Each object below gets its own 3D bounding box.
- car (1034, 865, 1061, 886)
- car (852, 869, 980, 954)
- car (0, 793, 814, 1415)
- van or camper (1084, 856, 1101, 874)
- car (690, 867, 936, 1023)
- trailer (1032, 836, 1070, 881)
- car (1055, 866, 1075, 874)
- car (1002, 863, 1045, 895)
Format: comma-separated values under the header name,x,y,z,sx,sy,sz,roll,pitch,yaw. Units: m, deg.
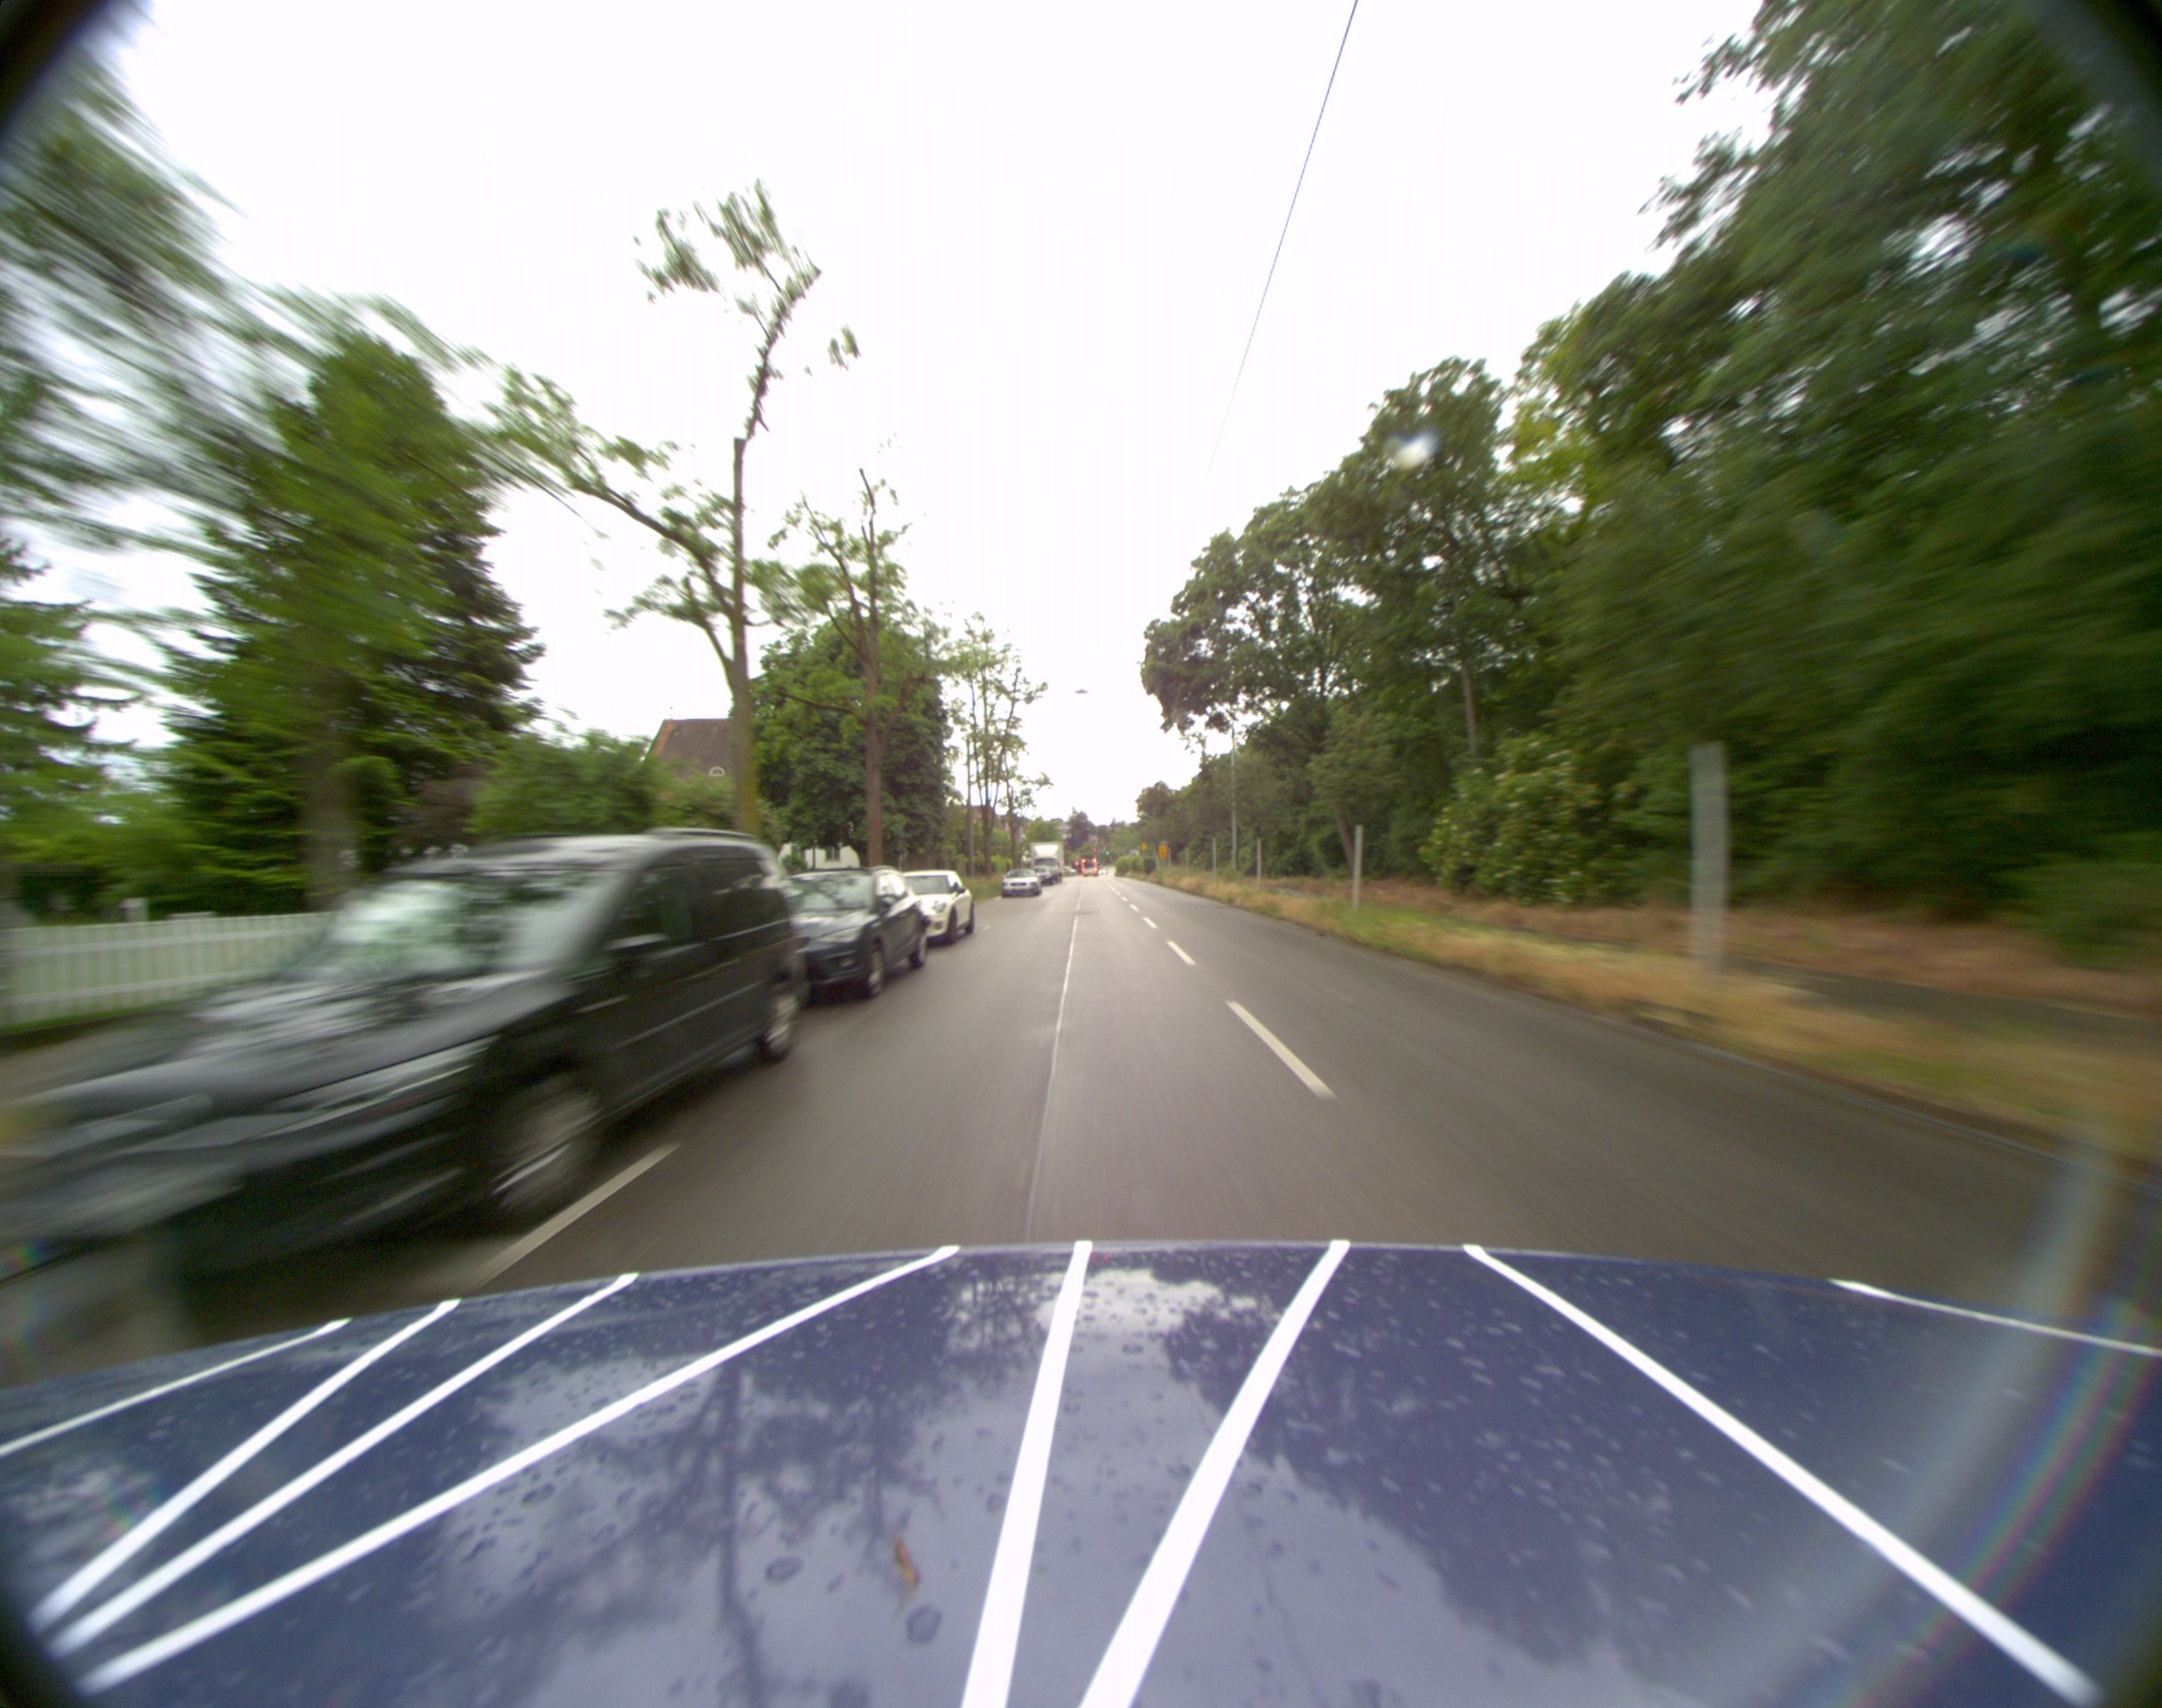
name,x,y,z,sx,sy,sz,roll,pitch,yaw
car,-2.421,1.539,55.814,1.645,1.455,4.000,-3,-1,0
car,-3.254,1.088,15.704,1.742,1.456,3.725,-3,-1,1
car,-3.220,0.801,4.408,1.734,1.836,4.230,-3,-1,1
van or camper,2.201,1.956,141.005,2.862,3.159,6.852,-3,-1,3
car,-3.189,0.988,9.979,1.683,1.546,4.076,-3,-1,1
trailer,-2.476,0.410,65.423,2.741,3.487,8.248,-3,-1,0
car,-4.239,4.187,201.958,5.049,1.966,2.001,-3,0,5
car,-2.789,1.197,37.422,1.786,1.387,4.000,-3,-1,-1
